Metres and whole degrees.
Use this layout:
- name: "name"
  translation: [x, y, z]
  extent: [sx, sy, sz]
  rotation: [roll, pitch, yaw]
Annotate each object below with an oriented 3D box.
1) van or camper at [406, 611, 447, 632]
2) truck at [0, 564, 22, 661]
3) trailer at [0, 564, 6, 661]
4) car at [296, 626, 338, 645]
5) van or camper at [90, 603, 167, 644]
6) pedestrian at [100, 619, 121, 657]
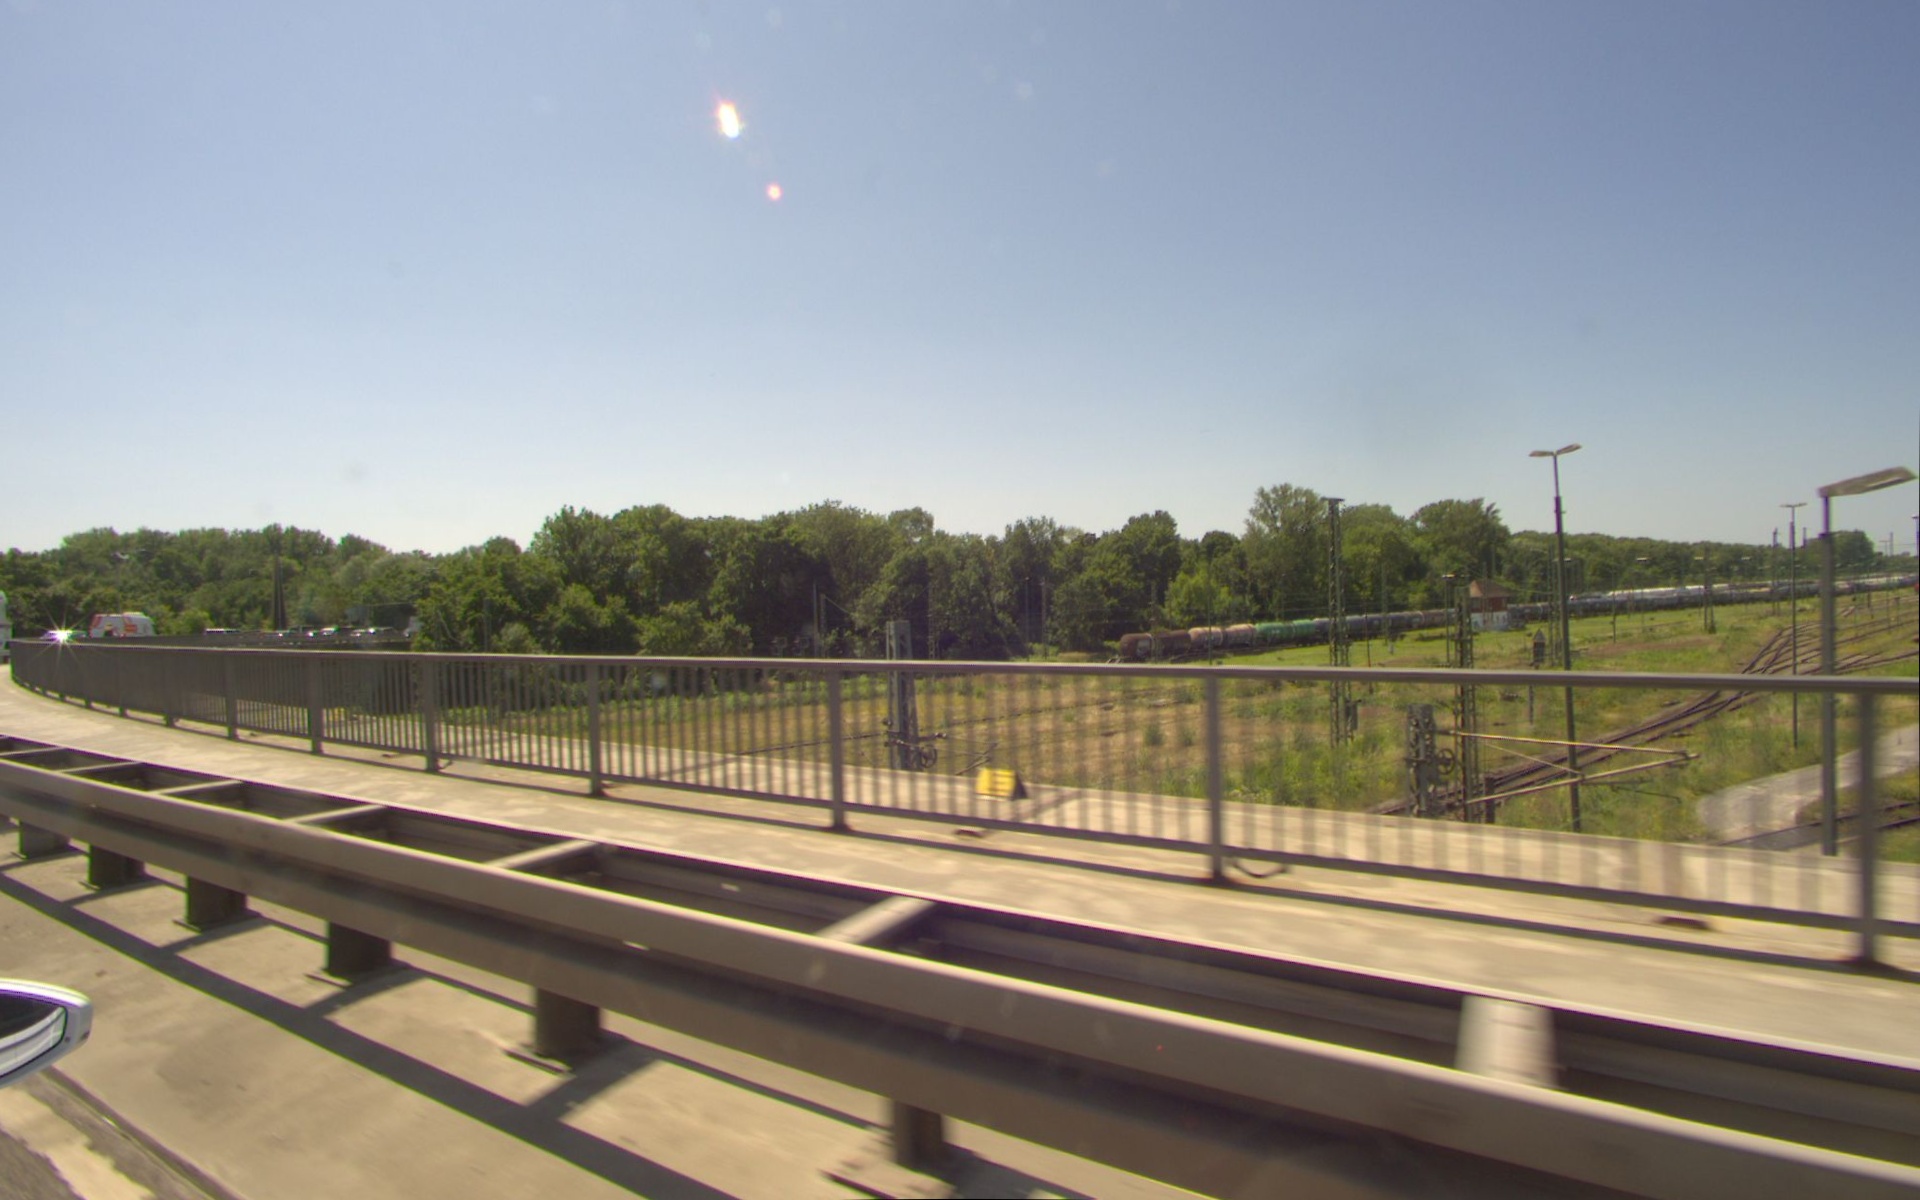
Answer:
- name: "van or camper"
  translation: [-70.920, 2.929, 133.200]
  extent: [2.444, 2.319, 4.967]
  rotation: [4, -5, 2]
- name: "truck"
  translation: [-48.085, 0.628, 48.238]
  extent: [3.140, 4.643, 7.349]
  rotation: [0, -2, -35]
- name: "trailer"
  translation: [-44.428, 0.428, 42.707]
  extent: [3.103, 4.672, 12.870]
  rotation: [1, -2, -33]
- name: "car"
  translation: [-66.206, 3.646, 103.166]
  extent: [1.858, 1.873, 4.001]
  rotation: [0, -2, -4]
- name: "van or camper"
  translation: [-57.869, 1.604, 69.849]
  extent: [2.172, 2.746, 5.912]
  rotation: [0, -1, -19]
- name: "pedestrian"
  translation: [-46.035, 2.054, 54.288]
  extent: [0.728, 1.992, 0.731]
  rotation: [0, -1, -29]
